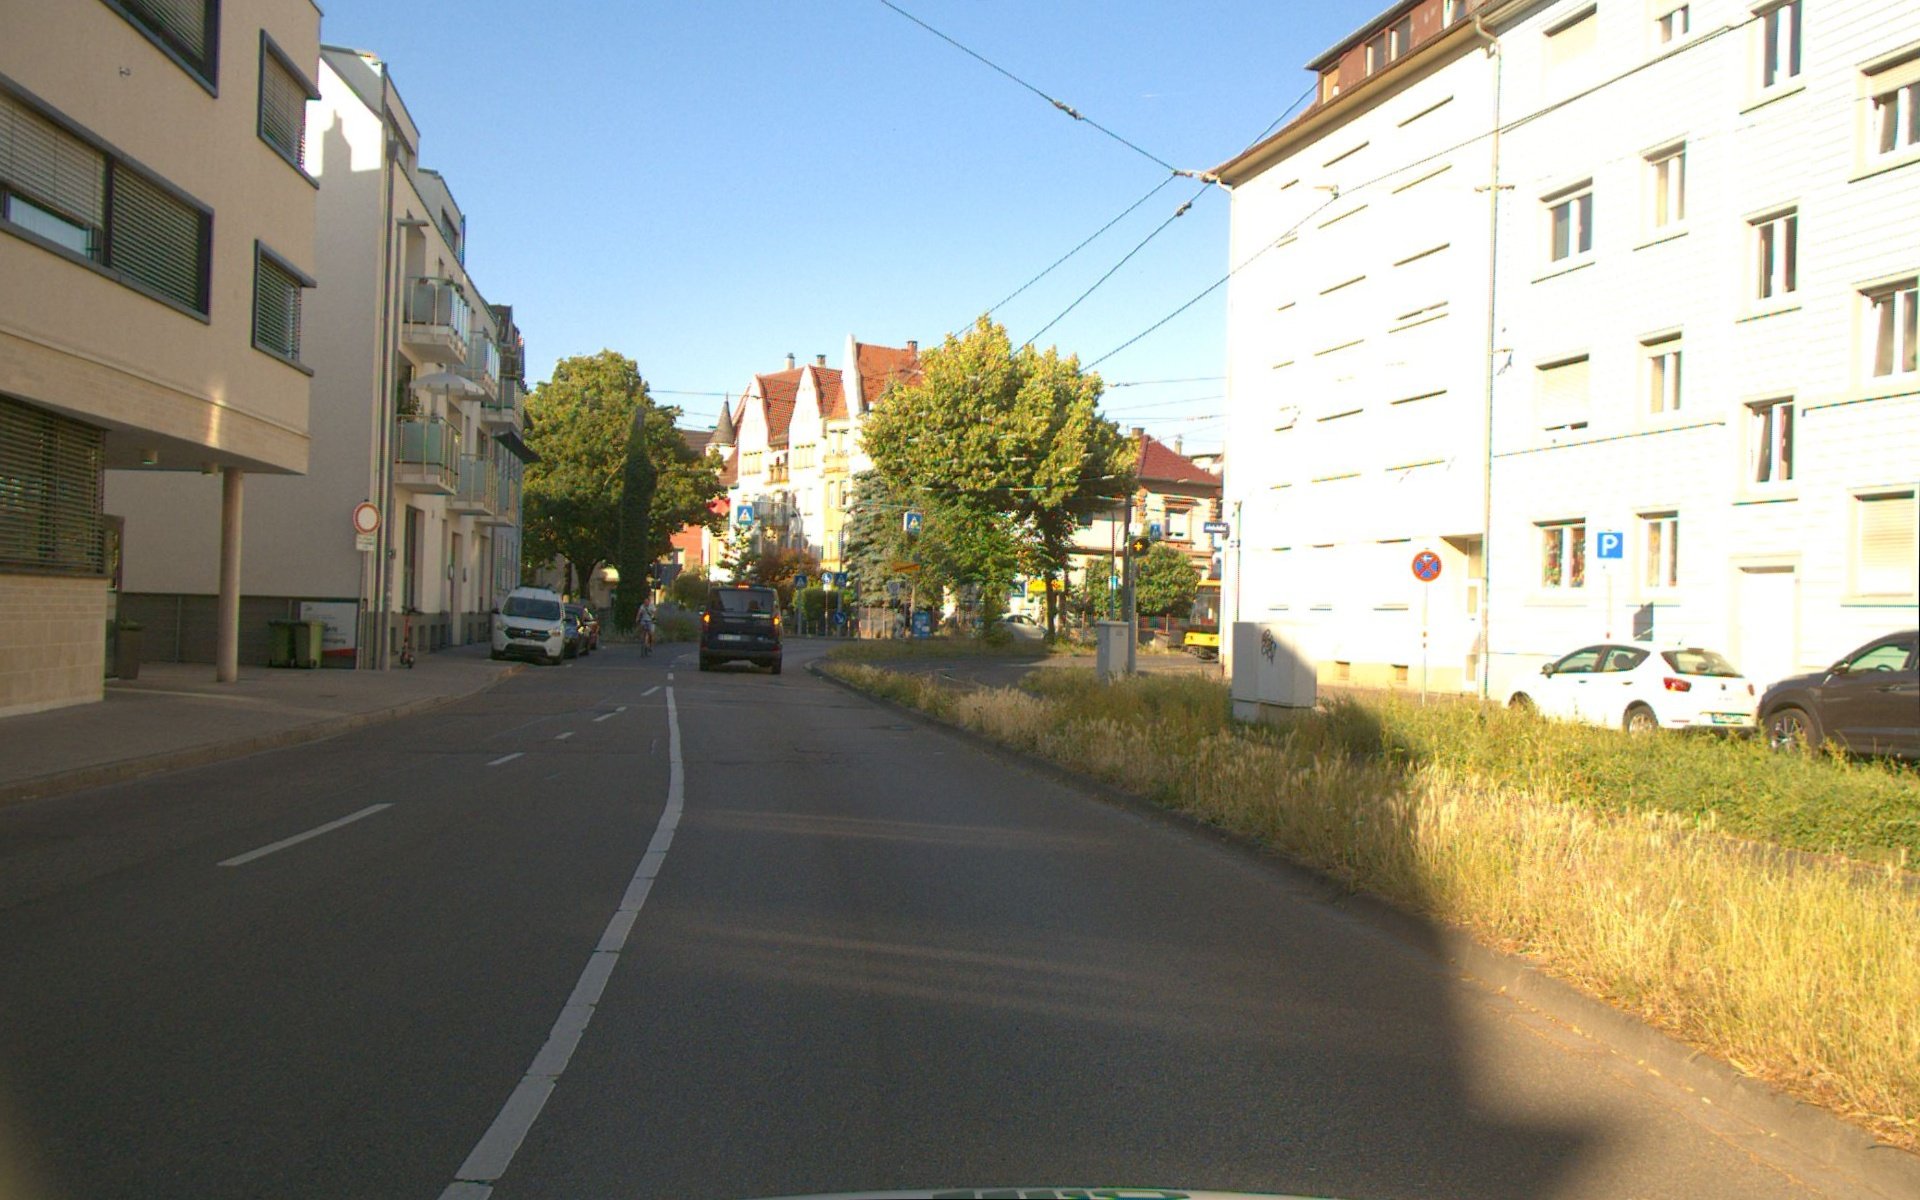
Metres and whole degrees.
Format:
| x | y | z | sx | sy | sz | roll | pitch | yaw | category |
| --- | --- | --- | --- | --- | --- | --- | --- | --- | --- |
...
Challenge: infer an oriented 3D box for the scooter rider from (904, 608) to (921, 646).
| x | y | z | sx | sy | sz | roll | pitch | yaw | category |
| --- | --- | --- | --- | --- | --- | --- | --- | --- | --- |
| -2.176 | 1.239 | 75.239 | 0.596 | 1.702 | 0.652 | 2 | -1 | -17 | scooter rider |

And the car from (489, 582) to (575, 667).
| x | y | z | sx | sy | sz | roll | pitch | yaw | category |
| --- | --- | --- | --- | --- | --- | --- | --- | --- | --- |
| -10.751 | 0.623 | 41.781 | 1.779 | 1.902 | 4.318 | 4 | -2 | -12 | car |

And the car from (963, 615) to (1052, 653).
| x | y | z | sx | sy | sz | roll | pitch | yaw | category |
| --- | --- | --- | --- | --- | --- | --- | --- | --- | --- |
| 2.023 | 1.444 | 69.760 | 1.929 | 1.531 | 3.664 | 0 | -1 | 41 | car |

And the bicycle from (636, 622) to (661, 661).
| x | y | z | sx | sy | sz | roll | pitch | yaw | category |
| --- | --- | --- | --- | --- | --- | --- | --- | --- | --- |
| -8.922 | 1.190 | 47.414 | 0.611 | 1.100 | 1.779 | 1 | -1 | -9 | bicycle |

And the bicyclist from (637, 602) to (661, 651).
| x | y | z | sx | sy | sz | roll | pitch | yaw | category |
| --- | --- | --- | --- | --- | --- | --- | --- | --- | --- |
| -8.919 | 0.759 | 47.455 | 0.611 | 1.404 | 0.799 | 1 | -1 | -9 | bicyclist |

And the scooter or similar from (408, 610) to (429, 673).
| x | y | z | sx | sy | sz | roll | pitch | yaw | category |
| --- | --- | --- | --- | --- | --- | --- | --- | --- | --- |
| -11.245 | 0.847 | 34.338 | 0.221 | 1.241 | 1.146 | 3 | 0 | -24 | scooter or similar |

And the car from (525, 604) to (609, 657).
| x | y | z | sx | sy | sz | roll | pitch | yaw | category |
| --- | --- | --- | --- | --- | --- | --- | --- | --- | --- |
| -12.514 | 0.936 | 52.861 | 1.675 | 1.492 | 4.589 | 4 | 0 | -2 | car |

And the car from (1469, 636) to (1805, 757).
| x | y | z | sx | sy | sz | roll | pitch | yaw | category |
| --- | --- | --- | --- | --- | --- | --- | --- | --- | --- |
| 9.412 | 1.296 | 23.436 | 1.964 | 1.411 | 4.420 | 1 | 0 | -20 | car |

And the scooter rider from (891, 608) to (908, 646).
| x | y | z | sx | sy | sz | roll | pitch | yaw | category |
| --- | --- | --- | --- | --- | --- | --- | --- | --- | --- |
| -2.752 | 1.216 | 75.046 | 0.596 | 1.702 | 0.652 | 2 | -1 | -17 | scooter rider |

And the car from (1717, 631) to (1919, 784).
| x | y | z | sx | sy | sz | roll | pitch | yaw | category |
| --- | --- | --- | --- | --- | --- | --- | --- | --- | --- |
| 10.865 | 1.170 | 18.329 | 1.962 | 1.600 | 4.619 | 1 | -1 | -17 | car |

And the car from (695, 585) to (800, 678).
| x | y | z | sx | sy | sz | roll | pitch | yaw | category |
| --- | --- | --- | --- | --- | --- | --- | --- | --- | --- |
| -5.104 | 0.743 | 40.185 | 1.953 | 2.049 | 3.999 | 3 | -1 | 0 | car |

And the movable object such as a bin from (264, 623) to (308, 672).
| x | y | z | sx | sy | sz | roll | pitch | yaw | category |
| --- | --- | --- | --- | --- | --- | --- | --- | --- | --- |
| -13.137 | 0.931 | 32.247 | 0.536 | 0.917 | 0.531 | 2 | -2 | 13 | movable object such as a bin |

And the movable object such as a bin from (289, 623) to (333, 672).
| x | y | z | sx | sy | sz | roll | pitch | yaw | category |
| --- | --- | --- | --- | --- | --- | --- | --- | --- | --- |
| -12.595 | 0.916 | 32.118 | 0.536 | 0.917 | 0.531 | 2 | -2 | 13 | movable object such as a bin |

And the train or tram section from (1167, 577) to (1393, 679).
| x | y | z | sx | sy | sz | roll | pitch | yaw | category |
| --- | --- | --- | --- | --- | --- | --- | --- | --- | --- |
| 12.458 | 1.151 | 63.742 | 9.816 | 3.618 | 2.747 | 3 | -1 | -38 | train or tram section |

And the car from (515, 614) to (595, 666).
| x | y | z | sx | sy | sz | roll | pitch | yaw | category |
| --- | --- | --- | --- | --- | --- | --- | --- | --- | --- |
| -11.430 | 1.128 | 46.899 | 1.633 | 1.296 | 4.019 | 4 | -2 | -7 | car |
